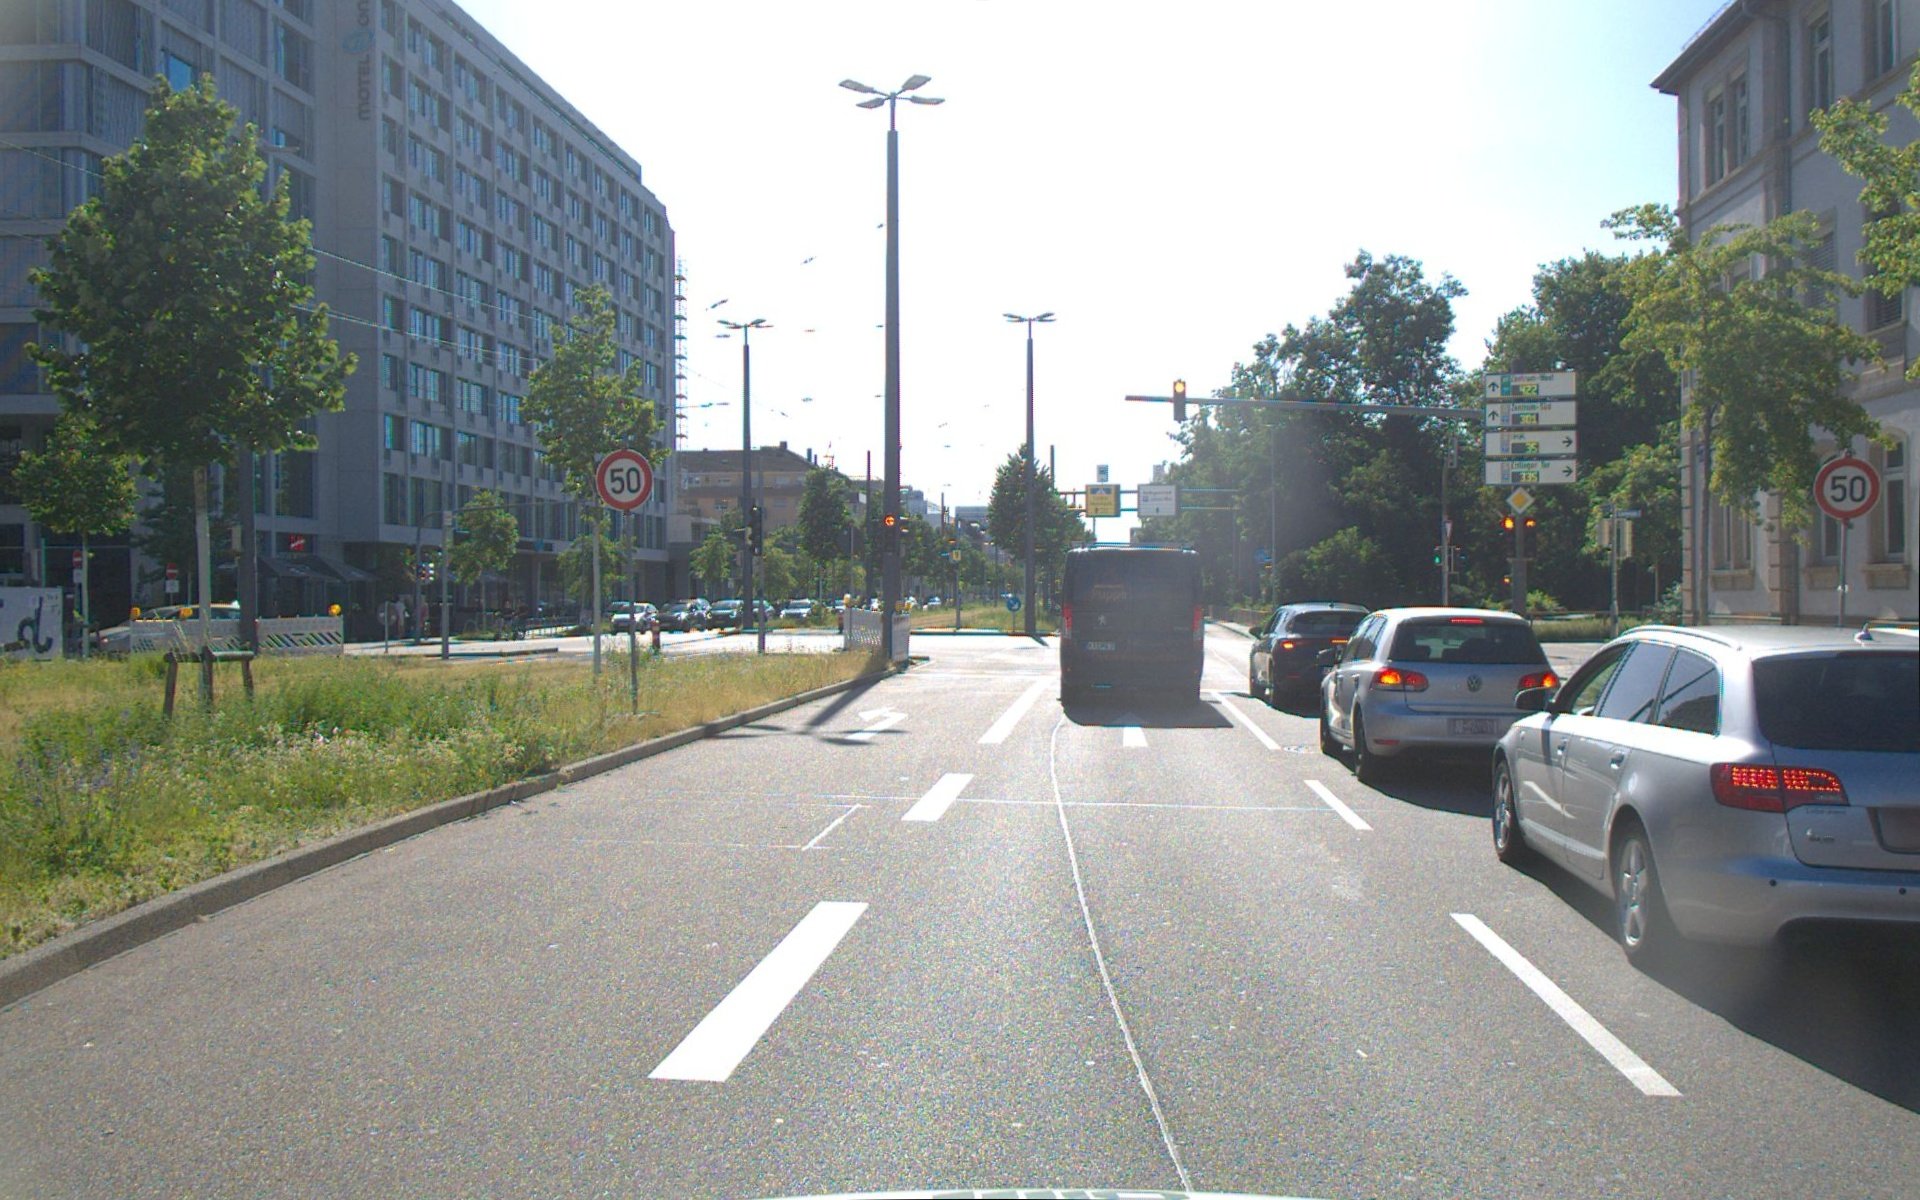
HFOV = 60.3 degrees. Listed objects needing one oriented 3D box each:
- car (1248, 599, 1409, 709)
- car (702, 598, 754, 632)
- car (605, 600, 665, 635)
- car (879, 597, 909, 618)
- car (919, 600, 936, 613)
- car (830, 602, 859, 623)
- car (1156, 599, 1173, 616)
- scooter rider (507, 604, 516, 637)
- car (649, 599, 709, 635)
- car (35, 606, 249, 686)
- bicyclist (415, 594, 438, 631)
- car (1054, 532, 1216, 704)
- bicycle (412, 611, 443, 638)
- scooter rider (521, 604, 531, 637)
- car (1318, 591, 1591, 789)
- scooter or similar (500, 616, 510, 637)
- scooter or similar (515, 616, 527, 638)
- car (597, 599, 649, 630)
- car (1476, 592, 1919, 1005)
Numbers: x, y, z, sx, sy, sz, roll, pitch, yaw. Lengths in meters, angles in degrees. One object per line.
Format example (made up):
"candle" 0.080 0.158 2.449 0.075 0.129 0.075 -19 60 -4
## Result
"car" 5.318 0.728 24.298 1.754 1.453 3.852 1 0 4
"car" -12.085 0.758 86.470 1.752 1.680 4.003 0 0 6
"car" -15.889 0.838 81.053 1.752 1.680 4.003 0 0 6
"car" -5.277 0.579 132.601 1.752 1.680 4.003 0 0 6
"car" -4.268 0.877 219.533 1.752 1.680 4.003 0 0 6
"car" -9.764 1.061 140.049 1.752 1.680 4.003 0 0 6
"car" 24.033 0.879 194.226 1.754 1.906 3.852 1 0 4
"scooter rider" -20.018 0.923 73.811 0.335 1.478 0.239 0 0 6
"car" -13.328 0.783 78.542 1.752 1.680 4.003 0 0 6
"car" -20.126 1.085 40.909 1.954 1.824 4.524 0 0 25
"bicyclist" -23.288 0.542 72.218 0.581 1.608 0.893 1 0 10
"car" 2.569 0.216 24.844 2.171 2.307 4.487 1 1 5
"bicycle" -23.237 1.069 72.167 0.574 1.119 1.624 1 0 10
"scooter rider" -19.281 0.902 73.477 0.335 1.478 0.239 0 0 6
"car" 4.403 0.706 15.308 1.712 1.554 4.008 1 0 6
"scooter or similar" -20.335 1.182 73.906 0.279 0.964 0.767 0 0 -1
"scooter or similar" -19.474 1.177 73.360 0.223 0.964 0.768 0 0 6
"car" -19.398 0.821 95.342 1.752 1.680 4.003 0 0 6
"car" 3.911 0.701 8.267 1.710 1.452 4.842 1 0 7
